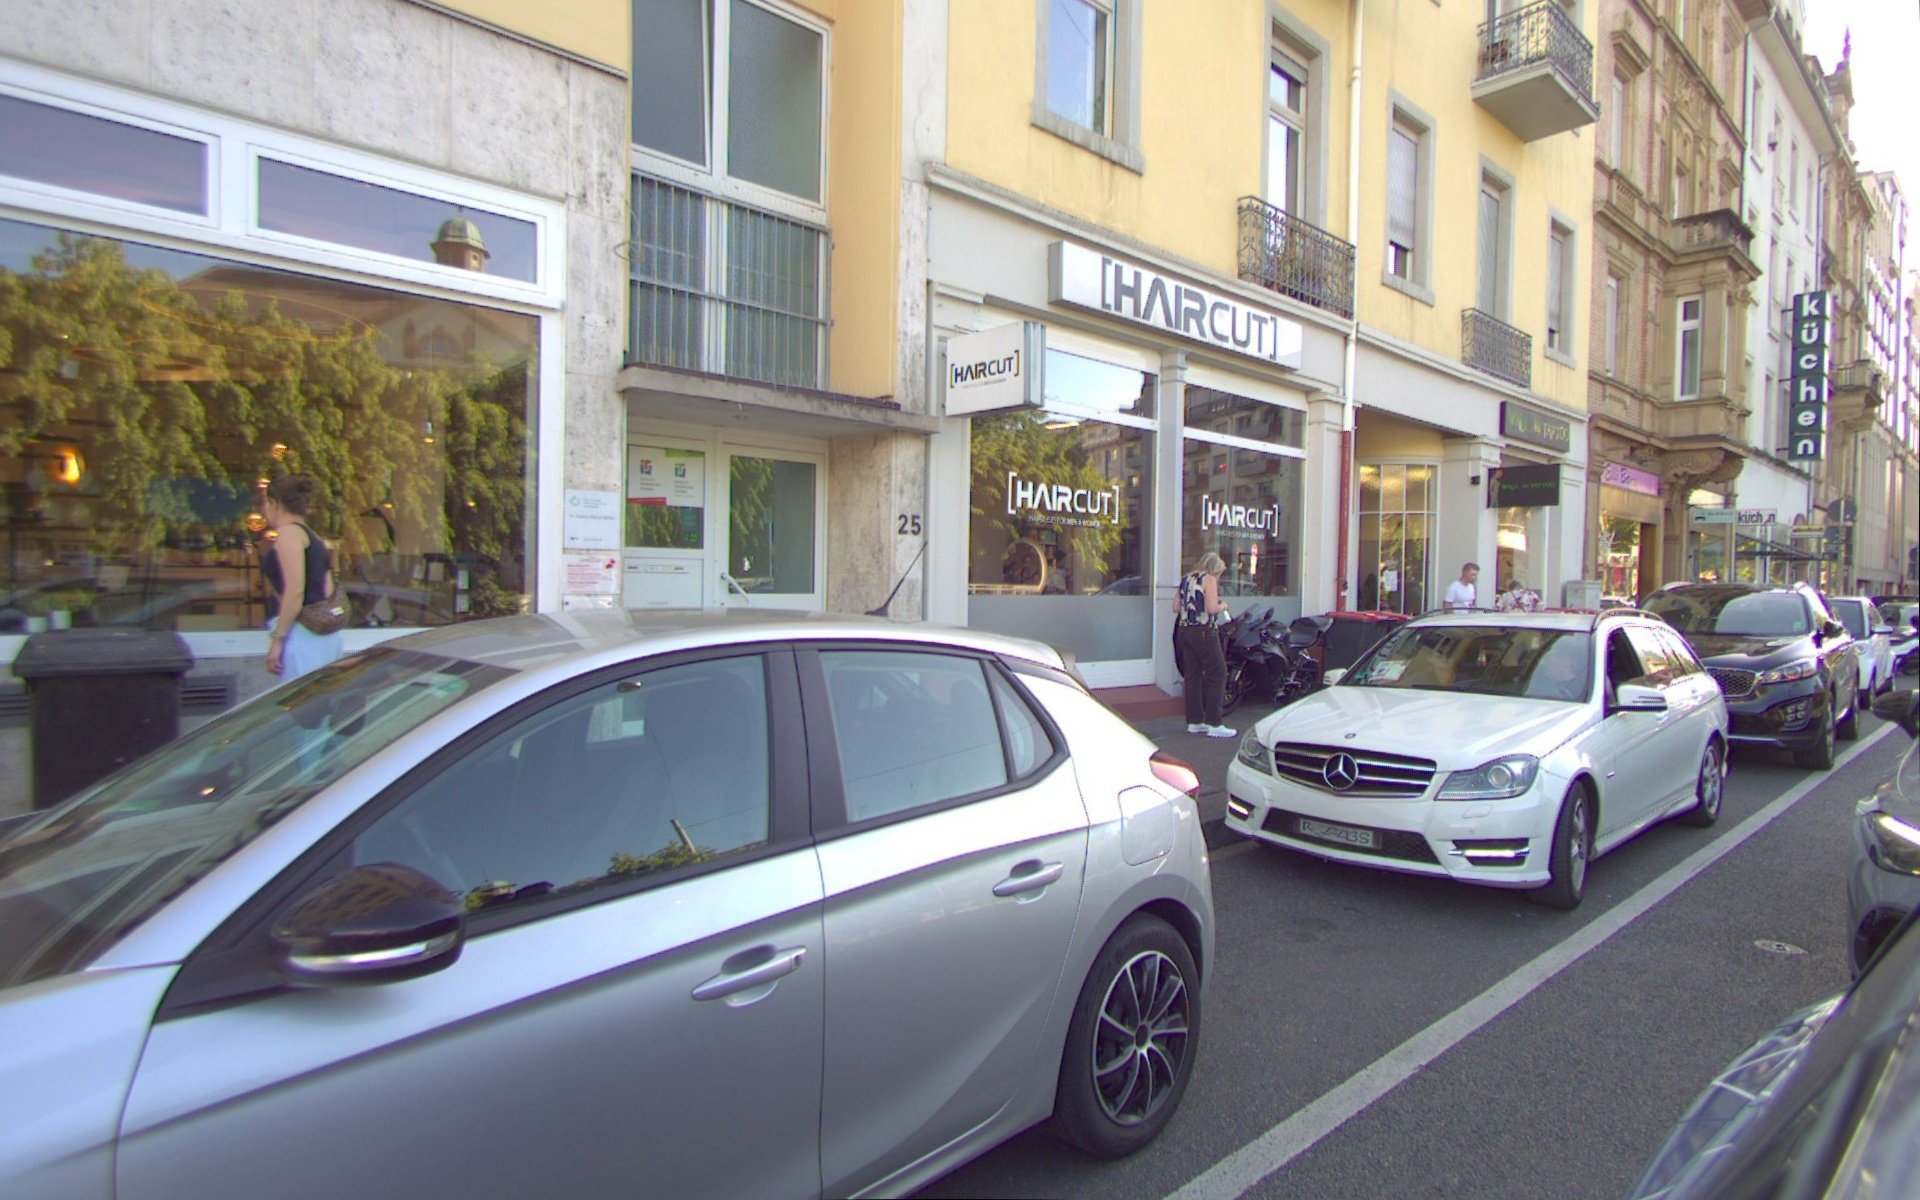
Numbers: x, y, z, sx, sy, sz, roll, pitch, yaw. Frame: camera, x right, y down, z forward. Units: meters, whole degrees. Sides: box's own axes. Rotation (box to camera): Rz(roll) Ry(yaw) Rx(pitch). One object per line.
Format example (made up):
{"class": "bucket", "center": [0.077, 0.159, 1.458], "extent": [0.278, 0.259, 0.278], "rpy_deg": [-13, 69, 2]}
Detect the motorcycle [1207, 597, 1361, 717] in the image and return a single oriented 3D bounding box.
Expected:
{"class": "motorcycle", "center": [3.396, 0.546, 10.525], "extent": [1.920, 1.091, 0.567], "rpy_deg": [-1, 4, -41]}

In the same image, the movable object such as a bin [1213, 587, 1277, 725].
{"class": "movable object such as a bin", "center": [2.694, 0.514, 9.579], "extent": [0.387, 1.253, 0.391], "rpy_deg": [0, 3, -41]}

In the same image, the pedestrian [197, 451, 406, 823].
{"class": "pedestrian", "center": [-3.187, 0.163, 4.954], "extent": [0.634, 1.686, 0.660], "rpy_deg": [0, 0, -8]}

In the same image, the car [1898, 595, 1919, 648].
{"class": "car", "center": [26.620, 0.556, 27.160], "extent": [3.773, 1.357, 1.800], "rpy_deg": [-1, 1, -42]}

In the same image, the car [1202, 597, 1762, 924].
{"class": "car", "center": [3.537, 0.689, 6.450], "extent": [4.302, 1.376, 1.703], "rpy_deg": [-1, 1, -41]}

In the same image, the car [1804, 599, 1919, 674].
{"class": "car", "center": [18.180, 0.652, 19.982], "extent": [4.016, 1.282, 1.800], "rpy_deg": [-1, 1, -42]}

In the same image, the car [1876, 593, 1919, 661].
{"class": "car", "center": [22.224, 0.575, 23.031], "extent": [4.016, 1.450, 1.657], "rpy_deg": [-1, 0, -42]}

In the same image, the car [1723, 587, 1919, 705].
{"class": "car", "center": [13.116, 0.582, 15.309], "extent": [4.016, 1.546, 1.800], "rpy_deg": [-1, 0, -42]}

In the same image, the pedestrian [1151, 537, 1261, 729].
{"class": "pedestrian", "center": [2.262, 0.270, 9.316], "extent": [0.595, 1.674, 0.719], "rpy_deg": [0, 3, -40]}

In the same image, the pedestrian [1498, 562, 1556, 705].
{"class": "pedestrian", "center": [7.655, 0.436, 13.682], "extent": [0.567, 1.874, 0.661], "rpy_deg": [0, 0, 19]}

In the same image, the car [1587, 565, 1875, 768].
{"class": "car", "center": [8.035, 0.519, 10.395], "extent": [4.176, 1.659, 1.799], "rpy_deg": [-1, 1, -45]}

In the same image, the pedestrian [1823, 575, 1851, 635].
{"class": "pedestrian", "center": [27.738, 0.157, 32.004], "extent": [0.653, 1.874, 0.574], "rpy_deg": [0, 0, -40]}

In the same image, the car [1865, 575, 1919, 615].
{"class": "car", "center": [39.248, -0.211, 40.848], "extent": [3.982, 1.571, 1.830], "rpy_deg": [0, 0, 40]}

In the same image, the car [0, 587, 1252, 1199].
{"class": "car", "center": [-1.002, 0.699, 2.277], "extent": [3.597, 1.445, 1.549], "rpy_deg": [-1, 1, -42]}

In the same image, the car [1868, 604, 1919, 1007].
{"class": "car", "center": [5.294, 0.707, 4.239], "extent": [3.931, 1.376, 1.800], "rpy_deg": [-1, 1, -42]}

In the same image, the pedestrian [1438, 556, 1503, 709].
{"class": "pedestrian", "center": [6.840, 0.420, 13.560], "extent": [0.679, 2.008, 0.375], "rpy_deg": [1, 1, -18]}
